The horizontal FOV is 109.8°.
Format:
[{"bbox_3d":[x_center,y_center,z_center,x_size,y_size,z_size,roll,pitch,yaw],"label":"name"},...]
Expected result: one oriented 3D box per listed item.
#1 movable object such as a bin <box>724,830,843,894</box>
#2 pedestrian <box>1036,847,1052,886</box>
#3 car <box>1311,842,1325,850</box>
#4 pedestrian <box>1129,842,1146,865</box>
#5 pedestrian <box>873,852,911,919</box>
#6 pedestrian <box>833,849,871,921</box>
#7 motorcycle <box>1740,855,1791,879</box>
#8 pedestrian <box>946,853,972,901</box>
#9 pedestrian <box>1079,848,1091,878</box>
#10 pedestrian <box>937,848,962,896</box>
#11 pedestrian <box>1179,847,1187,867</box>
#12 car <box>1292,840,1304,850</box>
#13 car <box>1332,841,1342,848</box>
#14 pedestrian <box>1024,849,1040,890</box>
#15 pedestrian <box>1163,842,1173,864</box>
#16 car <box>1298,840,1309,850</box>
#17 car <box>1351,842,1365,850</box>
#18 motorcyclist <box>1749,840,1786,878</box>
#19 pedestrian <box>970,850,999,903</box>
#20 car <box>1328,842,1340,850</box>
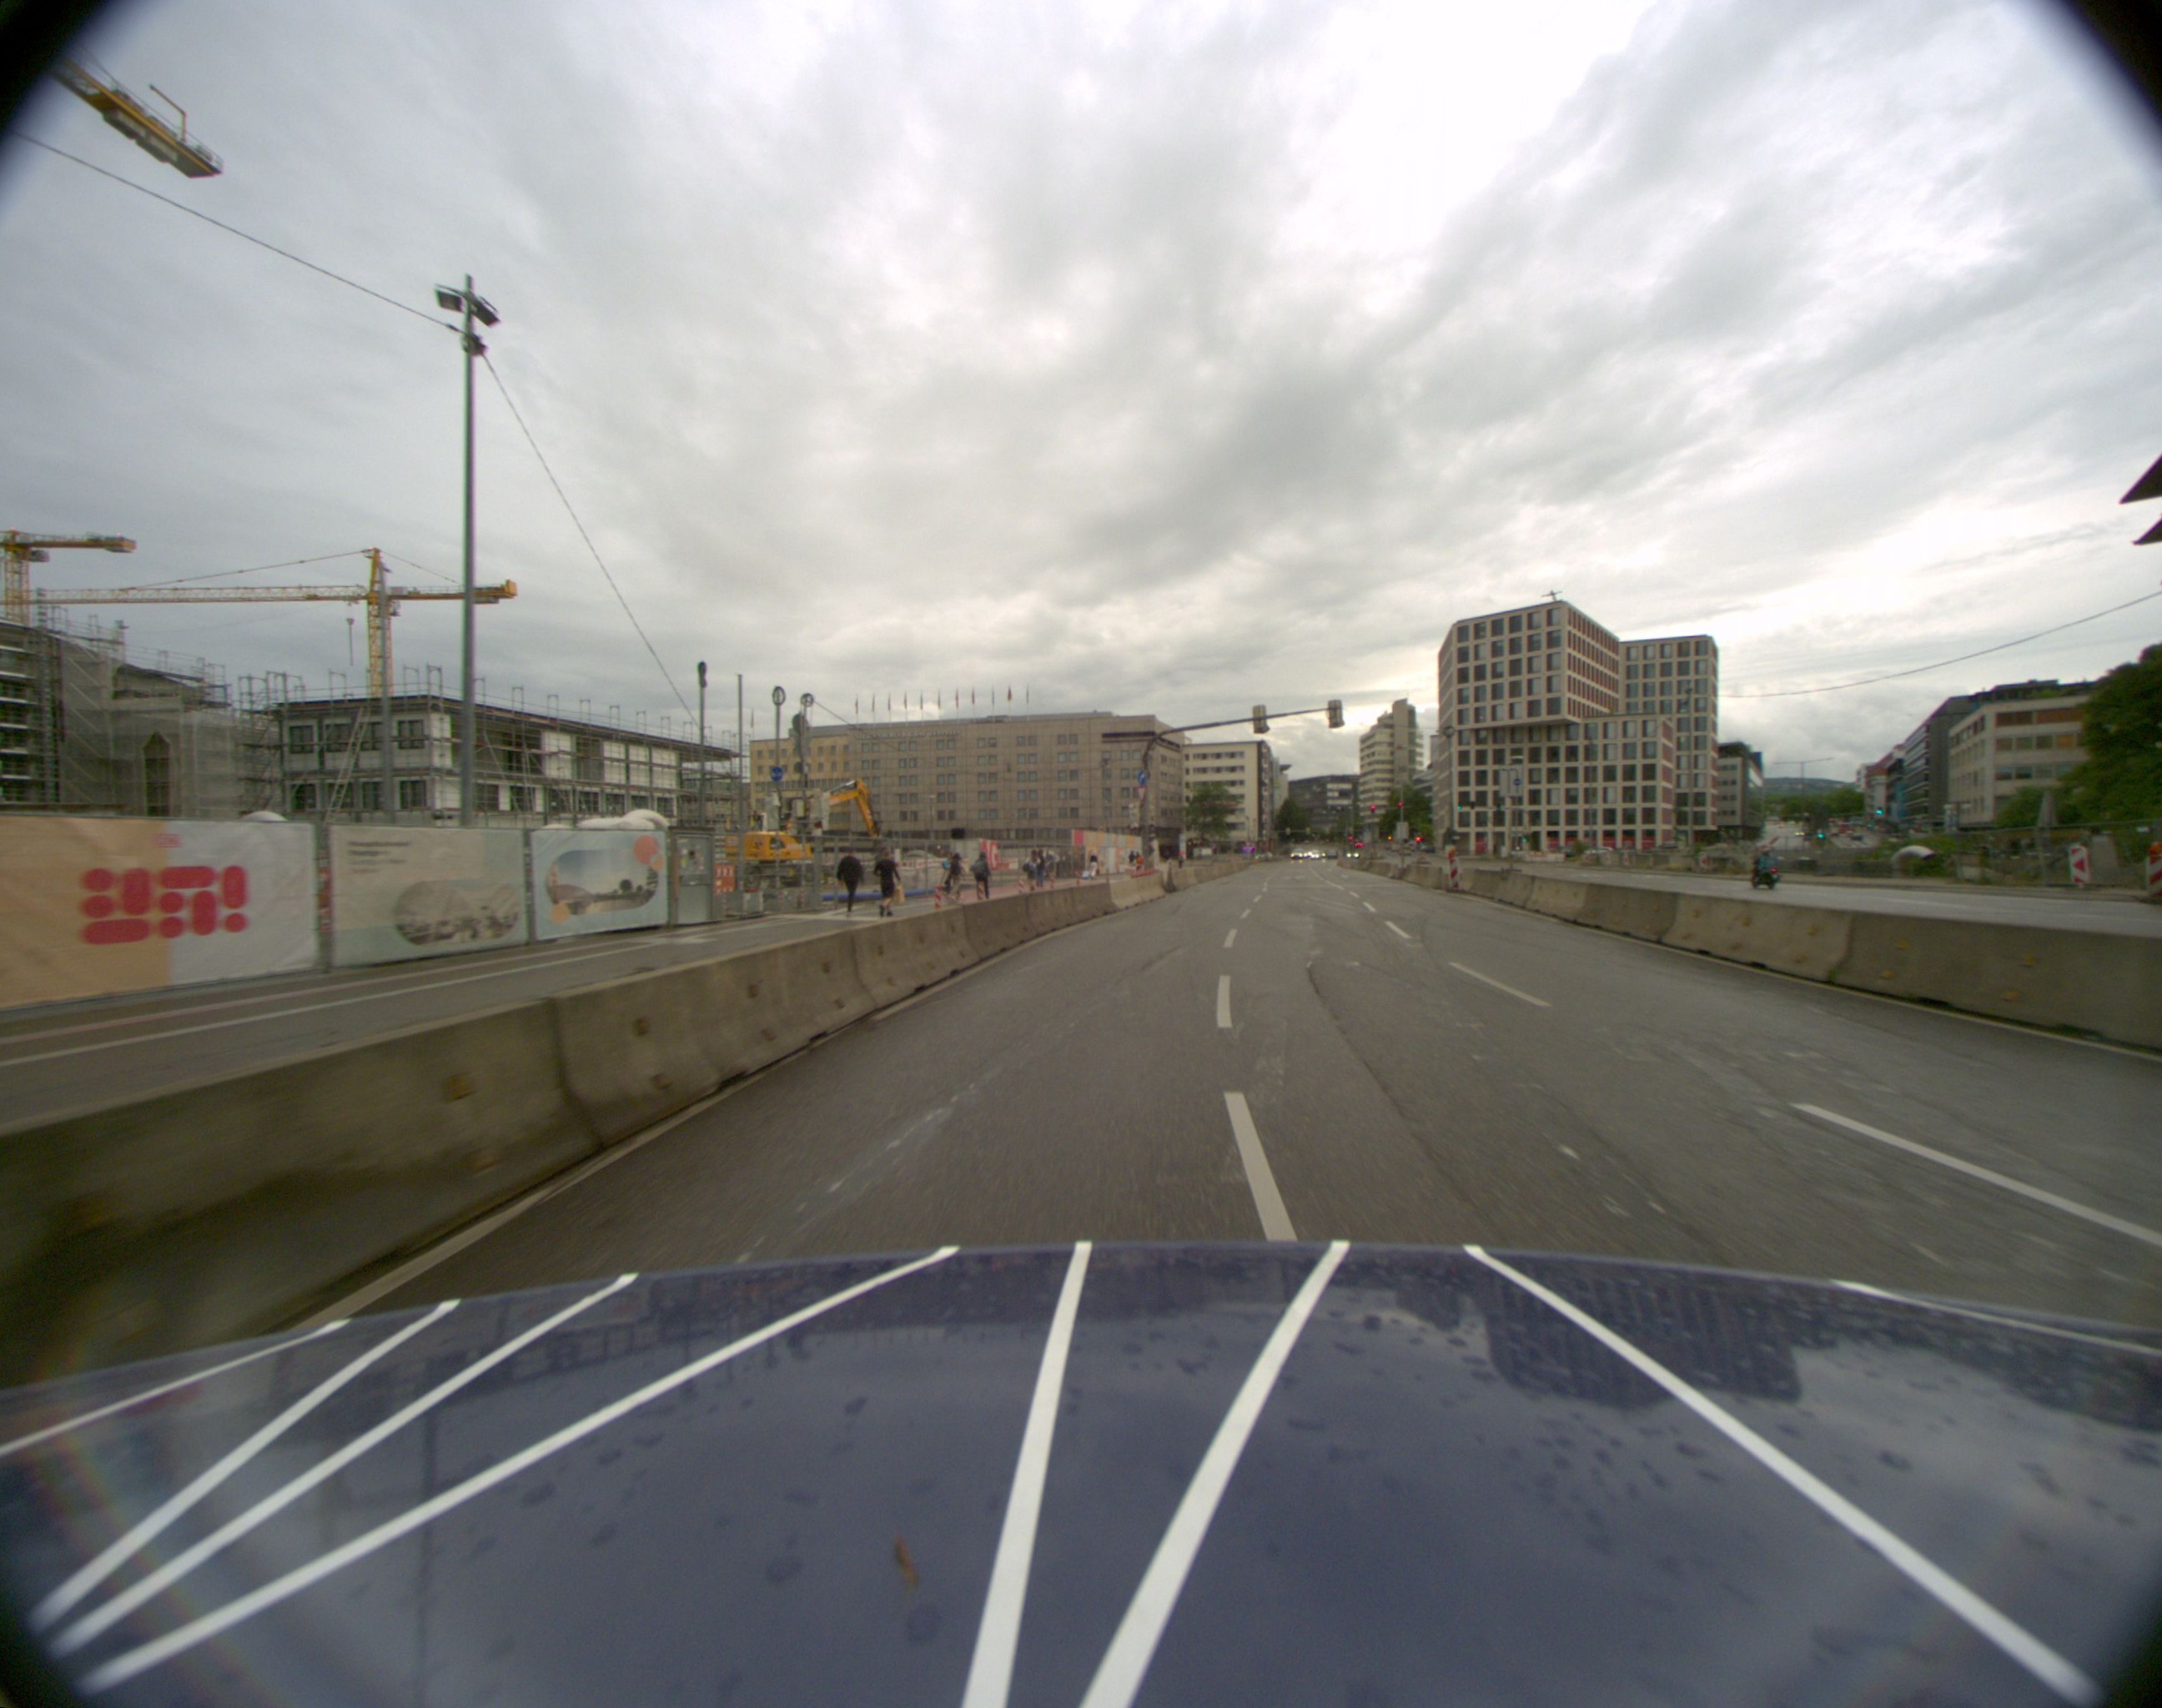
[{"bbox_3d":[-12.451,0.281,31.957,4.137,2.521,1.994,-2,1,-44],"label":"movable object such as a bin"},{"bbox_3d":[-1.688,0.579,34.873,0.648,1.751,0.583,1,1,3],"label":"pedestrian"},{"bbox_3d":[43.674,-1.495,140.092,1.996,1.445,4.003,-1,1,13],"label":"car"},{"bbox_3d":[4.351,-0.025,58.746,1.097,1.751,0.907,1,1,18],"label":"pedestrian"},{"bbox_3d":[-4.783,0.774,19.293,0.648,1.637,0.947,1,1,5],"label":"pedestrian"},{"bbox_3d":[-5.654,0.751,18.771,0.648,1.733,0.766,1,1,5],"label":"pedestrian"},{"bbox_3d":[27.473,0.517,30.535,0.703,0.887,1.824,-1,1,13],"label":"motorcycle"},{"bbox_3d":[-4.128,0.768,25.712,0.669,1.572,0.902,1,1,5],"label":"pedestrian"},{"bbox_3d":[0.229,0.521,43.212,0.648,1.660,0.766,1,1,3],"label":"pedestrian"},{"bbox_3d":[-4.801,0.649,27.843,0.746,1.696,0.687,1,1,5],"label":"pedestrian"},{"bbox_3d":[9.289,0.284,69.242,0.653,1.751,0.548,1,1,3],"label":"pedestrian"},{"bbox_3d":[40.613,-1.616,142.132,1.996,1.814,4.003,-1,1,13],"label":"car"},{"bbox_3d":[64.520,-2.282,191.424,1.996,1.707,4.003,-1,1,13],"label":"car"},{"bbox_3d":[-2.018,0.631,31.490,0.585,1.698,0.677,1,1,3],"label":"pedestrian"},{"bbox_3d":[7.121,-0.087,62.421,0.756,1.751,0.766,1,1,3],"label":"pedestrian"},{"bbox_3d":[43.942,-1.773,150.067,1.996,1.838,4.003,-1,1,13],"label":"car"},{"bbox_3d":[50.316,-1.533,138.040,1.790,1.445,3.675,-1,1,13],"label":"car"},{"bbox_3d":[27.446,0.193,30.400,0.703,1.478,0.963,-1,1,13],"label":"motorcyclist"},{"bbox_3d":[-3.111,0.712,24.438,0.654,1.681,0.776,1,1,15],"label":"pedestrian"},{"bbox_3d":[46.180,-1.503,138.851,1.707,1.445,3.799,-1,1,13],"label":"car"}]
